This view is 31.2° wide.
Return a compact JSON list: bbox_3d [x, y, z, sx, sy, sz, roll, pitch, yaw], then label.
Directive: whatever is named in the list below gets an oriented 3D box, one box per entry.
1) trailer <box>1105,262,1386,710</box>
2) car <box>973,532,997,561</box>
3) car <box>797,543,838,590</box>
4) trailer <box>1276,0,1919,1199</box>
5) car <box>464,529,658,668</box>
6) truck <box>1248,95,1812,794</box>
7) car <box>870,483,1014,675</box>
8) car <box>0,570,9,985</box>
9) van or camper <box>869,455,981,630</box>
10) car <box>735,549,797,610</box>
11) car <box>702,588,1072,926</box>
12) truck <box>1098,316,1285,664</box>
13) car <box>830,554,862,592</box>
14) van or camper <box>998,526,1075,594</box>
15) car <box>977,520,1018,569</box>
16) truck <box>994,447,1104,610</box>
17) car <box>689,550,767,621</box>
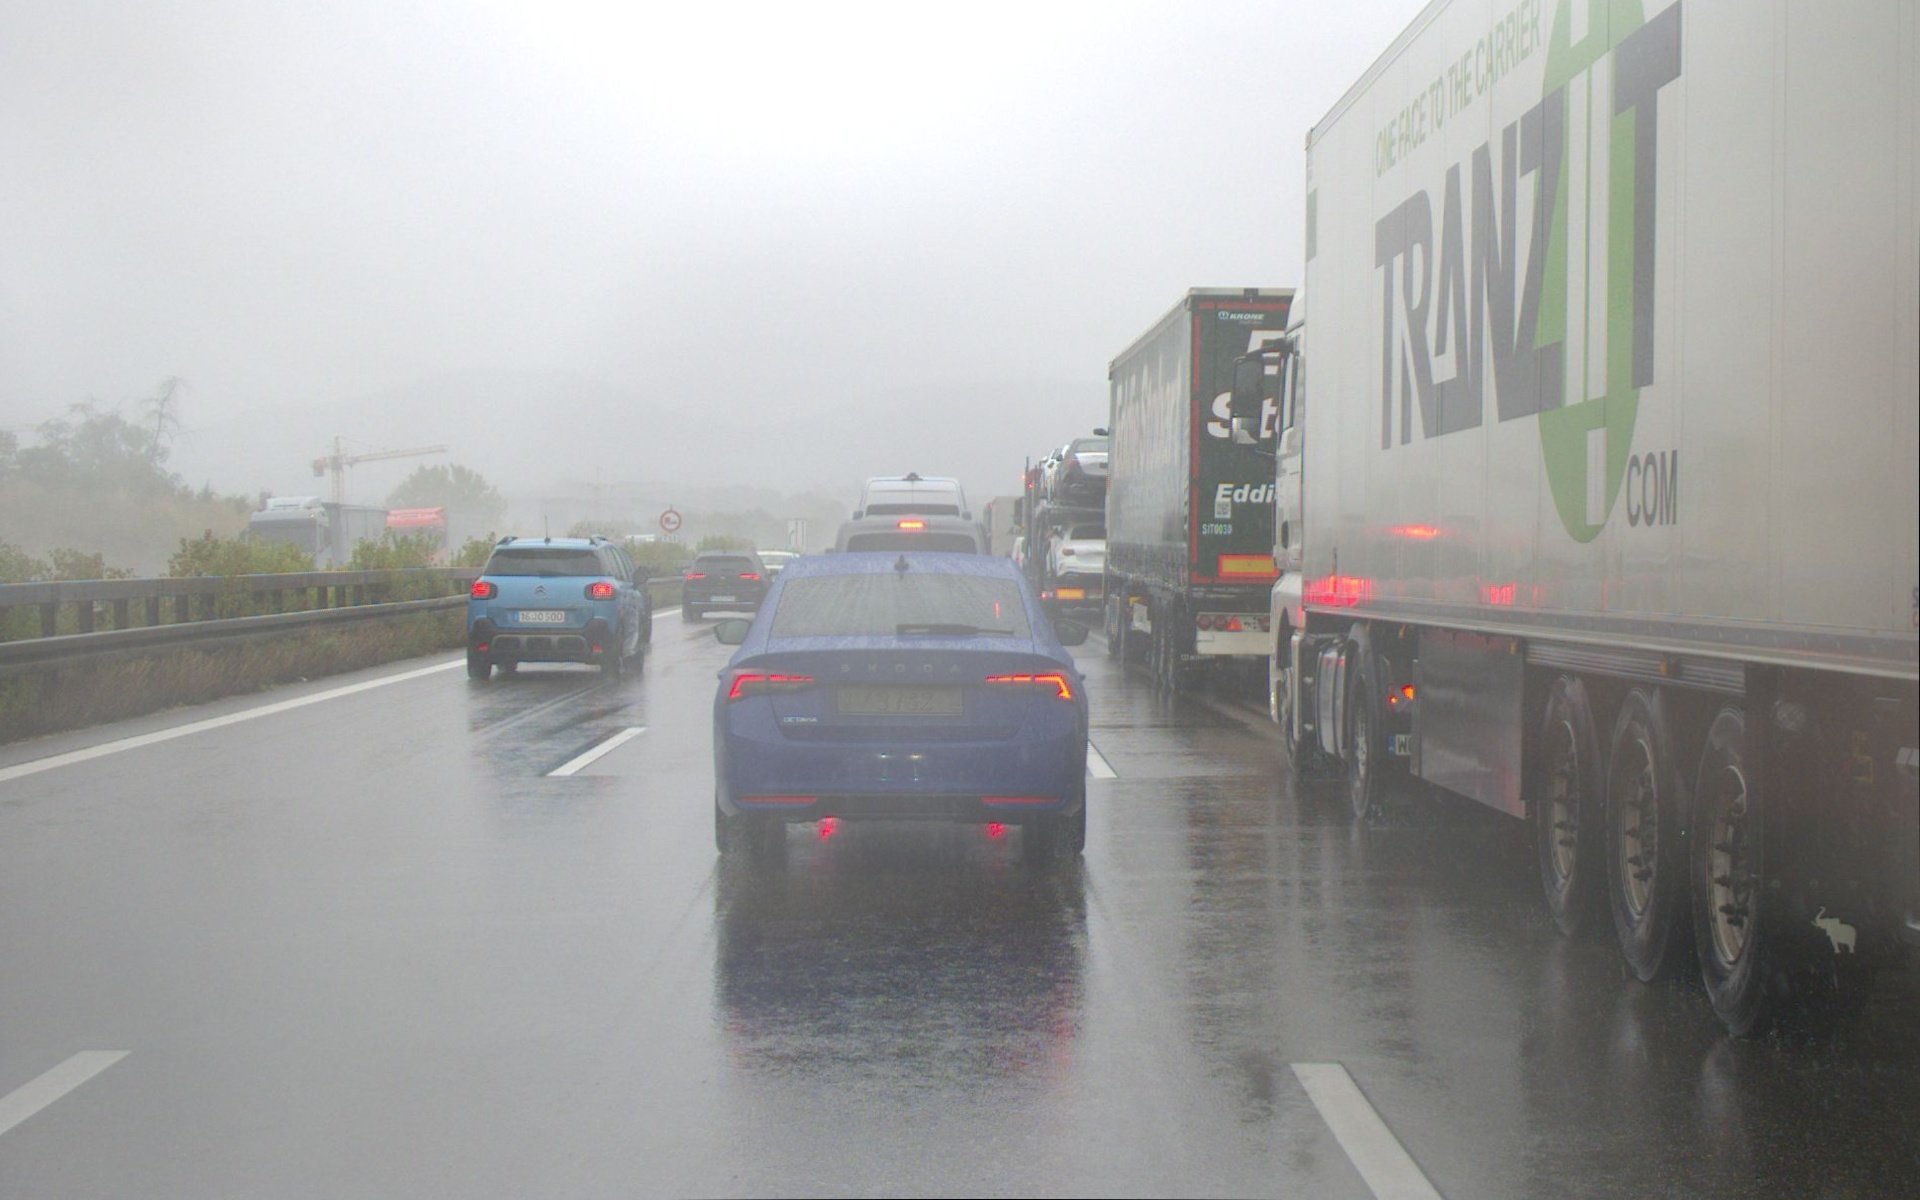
[{"bbox_3d":[2.900,-1.189,37.720,2.047,4.162,11.449,0,1,0],"label":"trailer"},{"bbox_3d":[1.612,-3.421,219.387,1.448,1.777,3.409,1,1,0],"label":"car"},{"bbox_3d":[-5.476,-1.304,132.254,1.448,1.777,3.409,1,1,0],"label":"car"},{"bbox_3d":[3.365,-0.843,14.424,2.630,3.999,14.630,0,1,0],"label":"trailer"},{"bbox_3d":[-4.546,-0.052,39.652,1.722,1.518,4.000,0,1,1],"label":"car"},{"bbox_3d":[3.315,-0.901,21.188,2.630,3.814,4.791,0,1,0],"label":"truck"},{"bbox_3d":[-0.177,-0.234,33.479,1.336,1.773,3.322,0,1,0],"label":"car"},{"bbox_3d":[-4.072,0.632,9.544,1.718,1.395,4.230,0,1,0],"label":"car"},{"bbox_3d":[-0.579,-0.979,57.405,1.797,2.797,4.768,0,1,0],"label":"van or camper"},{"bbox_3d":[-5.020,-0.537,89.184,1.439,1.528,3.322,0,1,0],"label":"car"},{"bbox_3d":[-0.311,0.688,17.215,1.635,1.440,4.000,0,1,0],"label":"car"},{"bbox_3d":[2.861,-1.364,43.366,2.047,4.178,4.000,0,1,0],"label":"truck"},{"bbox_3d":[-5.491,-1.316,166.335,1.448,1.777,3.409,1,1,0],"label":"car"},{"bbox_3d":[1.903,-1.036,86.474,1.771,1.619,4.484,0,2,-1],"label":"van or camper"},{"bbox_3d":[1.385,-2.068,127.485,1.448,1.777,3.409,1,1,0],"label":"car"},{"bbox_3d":[1.903,-1.606,75.942,1.993,3.410,8.033,0,2,-2],"label":"truck"},{"bbox_3d":[-4.843,-0.321,72.043,1.439,1.415,3.322,0,1,0],"label":"car"}]
